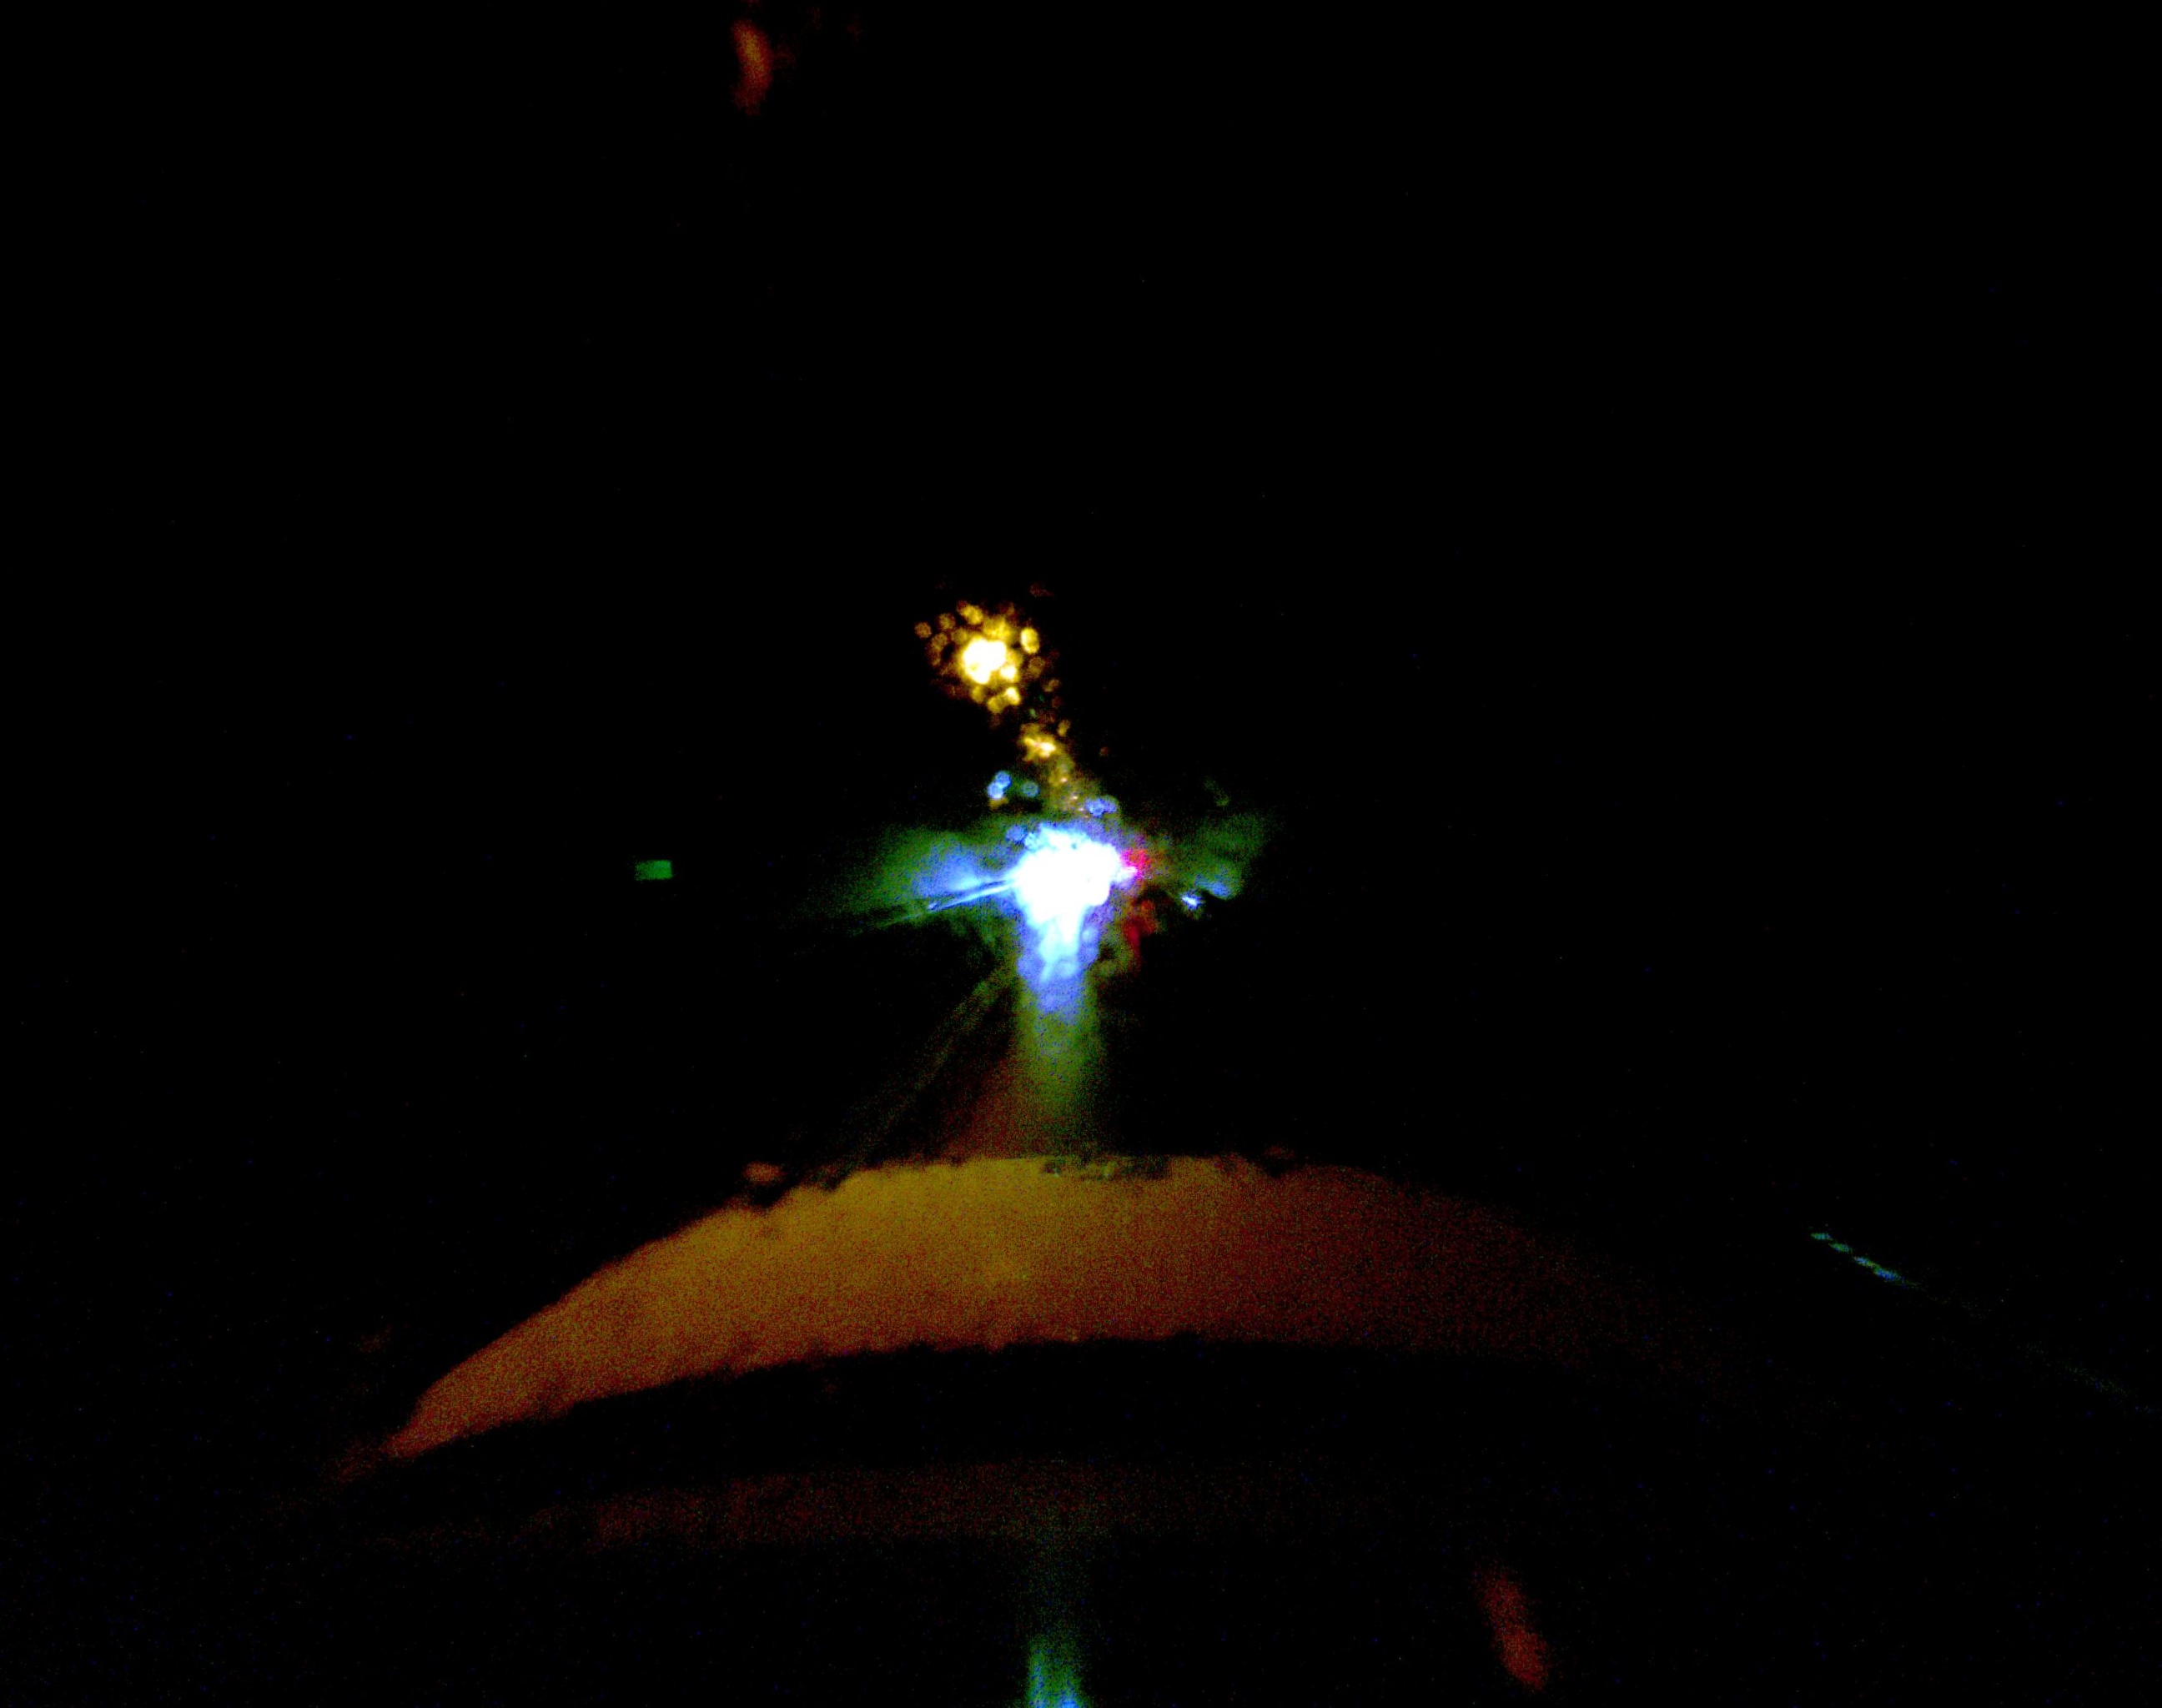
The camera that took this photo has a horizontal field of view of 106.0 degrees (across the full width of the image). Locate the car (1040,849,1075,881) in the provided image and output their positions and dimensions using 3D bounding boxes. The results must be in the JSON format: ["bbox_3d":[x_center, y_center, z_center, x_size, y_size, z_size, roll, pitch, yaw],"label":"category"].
[{"bbox_3d":[-1.441,0.657,51.959,1.834,1.900,4.611,-2,0,2],"label":"car"}]

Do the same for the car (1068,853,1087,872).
[{"bbox_3d":[-0.333,0.853,85.553,1.754,1.900,4.611,-2,0,2],"label":"car"}]

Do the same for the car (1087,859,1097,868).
[{"bbox_3d":[2.068,1.824,154.415,1.629,1.535,3.648,-2,0,2],"label":"car"}]

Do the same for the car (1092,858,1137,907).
[{"bbox_3d":[1.345,1.070,32.622,1.629,1.758,4.148,-2,0,2],"label":"car"}]
